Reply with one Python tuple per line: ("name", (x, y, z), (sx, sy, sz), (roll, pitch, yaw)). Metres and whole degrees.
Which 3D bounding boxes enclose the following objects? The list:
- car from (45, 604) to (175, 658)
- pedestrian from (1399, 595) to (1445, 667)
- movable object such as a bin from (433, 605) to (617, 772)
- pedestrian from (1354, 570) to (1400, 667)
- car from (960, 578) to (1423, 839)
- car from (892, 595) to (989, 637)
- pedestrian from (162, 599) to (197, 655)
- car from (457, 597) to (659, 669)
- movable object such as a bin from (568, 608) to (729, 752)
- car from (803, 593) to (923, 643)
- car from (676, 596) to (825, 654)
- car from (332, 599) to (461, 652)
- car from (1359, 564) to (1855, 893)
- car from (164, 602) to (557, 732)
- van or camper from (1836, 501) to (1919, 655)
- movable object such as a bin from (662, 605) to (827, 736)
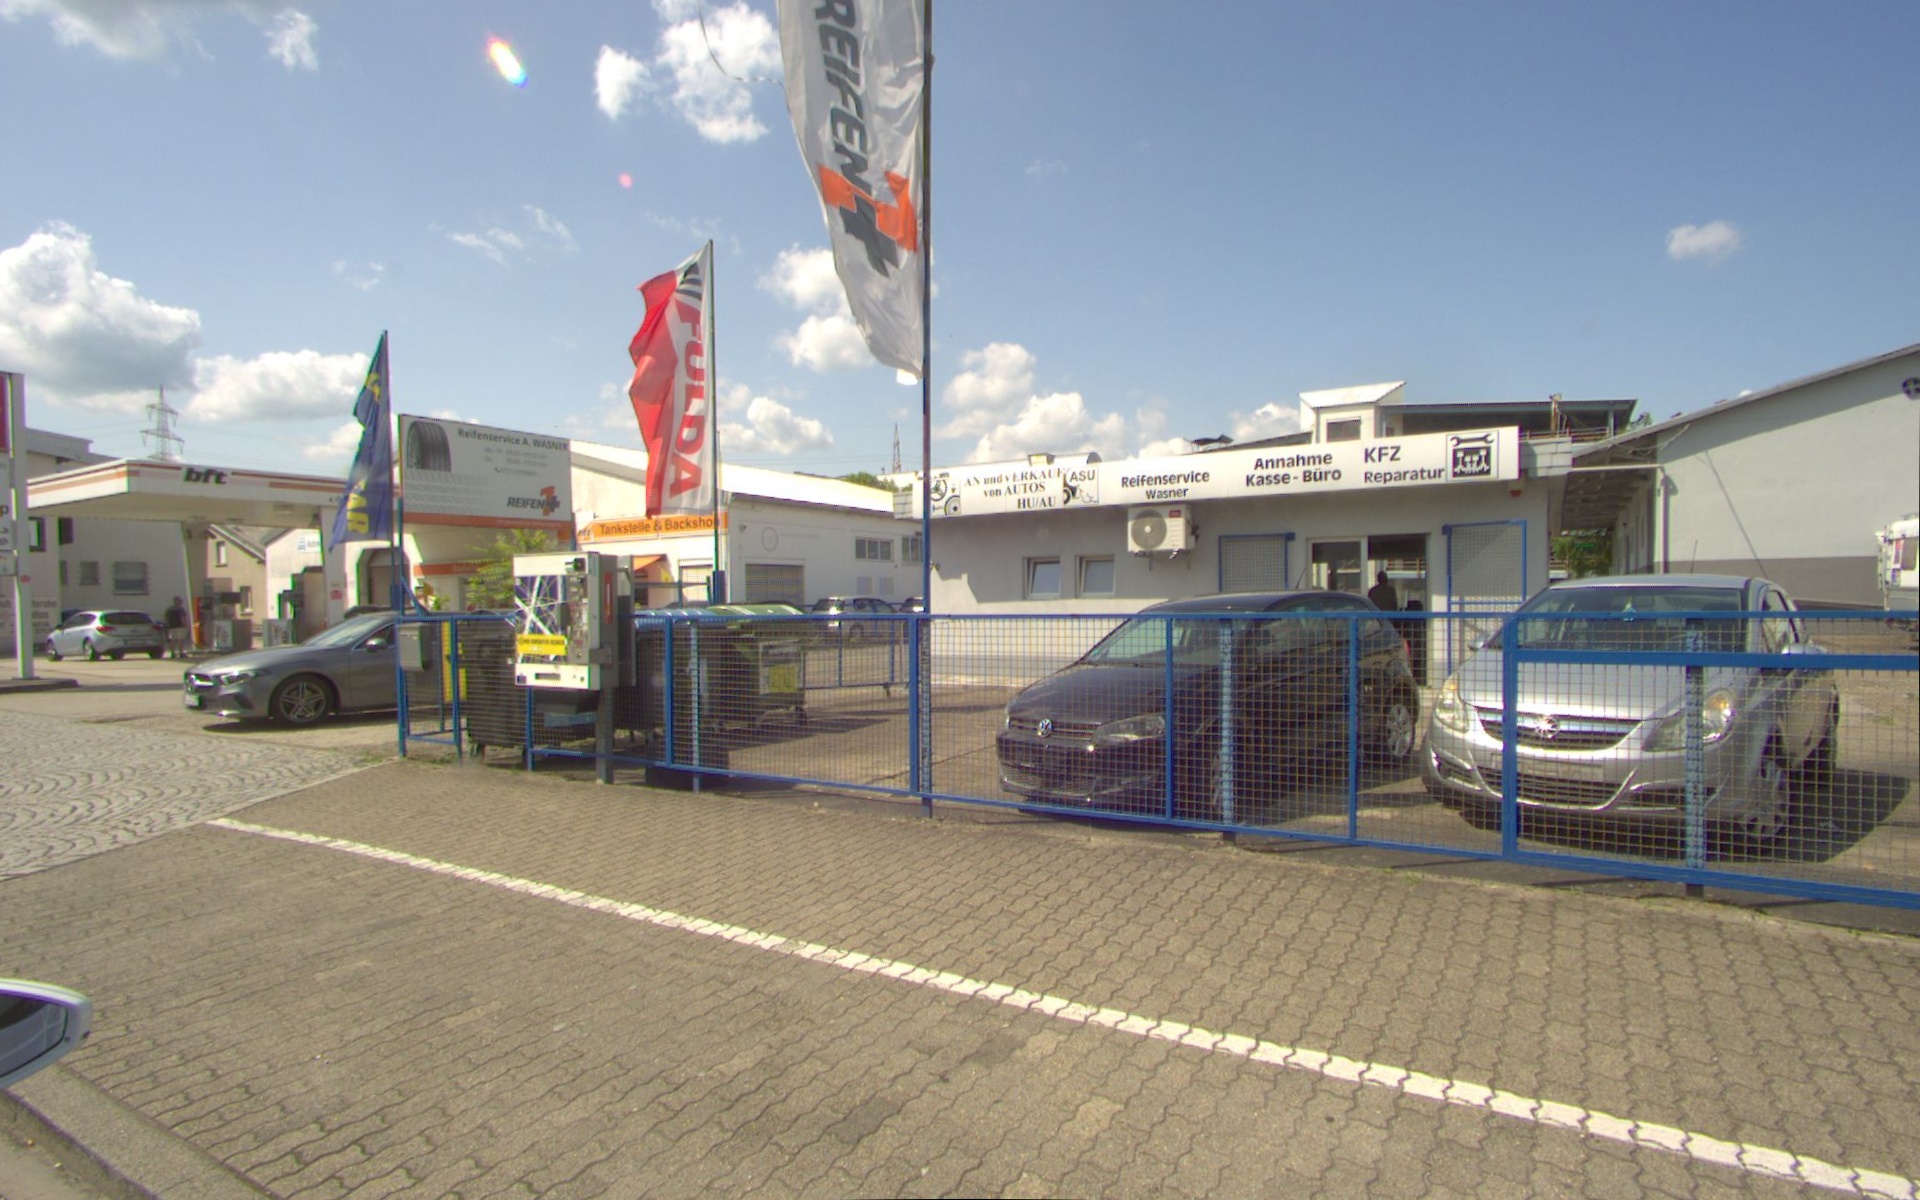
("car", (-25.739, 0.899, 30.311), (3.776, 1.523, 1.803), (0, 0, 30))
("pedestrian", (8.043, 0.533, 17.442), (0.654, 1.225, 0.563), (0, 1, 34))
("movable object such as a bin", (-4.163, 0.787, 9.611), (1.225, 1.455, 1.106), (0, 1, 31))
("pedestrian", (7.349, 0.319, 17.648), (0.654, 1.671, 0.563), (0, 1, 34))
("car", (1.885, 0.604, 7.497), (3.655, 1.472, 1.625), (-1, 1, -43))
("car", (-0.641, 0.531, 35.739), (1.564, 1.385, 3.860), (0, 0, 33))
("pedestrian", (-23.778, 0.799, 30.521), (0.698, 1.679, 0.546), (-1, 1, -22))
("car", (-9.168, 0.688, 23.168), (1.564, 1.482, 4.187), (0, 0, 33))
("movable object such as a bin", (-3.330, 0.804, 10.741), (1.225, 1.415, 1.106), (0, 1, 31))
("car", (-3.017, 0.525, 32.054), (1.564, 1.482, 4.187), (0, 0, 33))
("car", (-5.720, 0.640, 27.823), (1.564, 1.482, 4.187), (0, 0, 33))
("car", (-17.312, 0.746, 30.728), (3.777, 1.523, 1.803), (0, 0, 31))
("car", (4.268, 0.563, 6.383), (3.729, 1.472, 1.757), (-1, 0, -42))
("car", (-7.860, 0.763, 13.542), (1.652, 1.434, 4.259), (0, 0, 36))
("van or camper", (21.012, -0.454, 19.531), (5.571, 3.005, 2.264), (0, 1, 31))
("movable object such as a bin", (-2.537, 0.784, 11.906), (1.318, 1.415, 1.400), (0, 1, 31))
